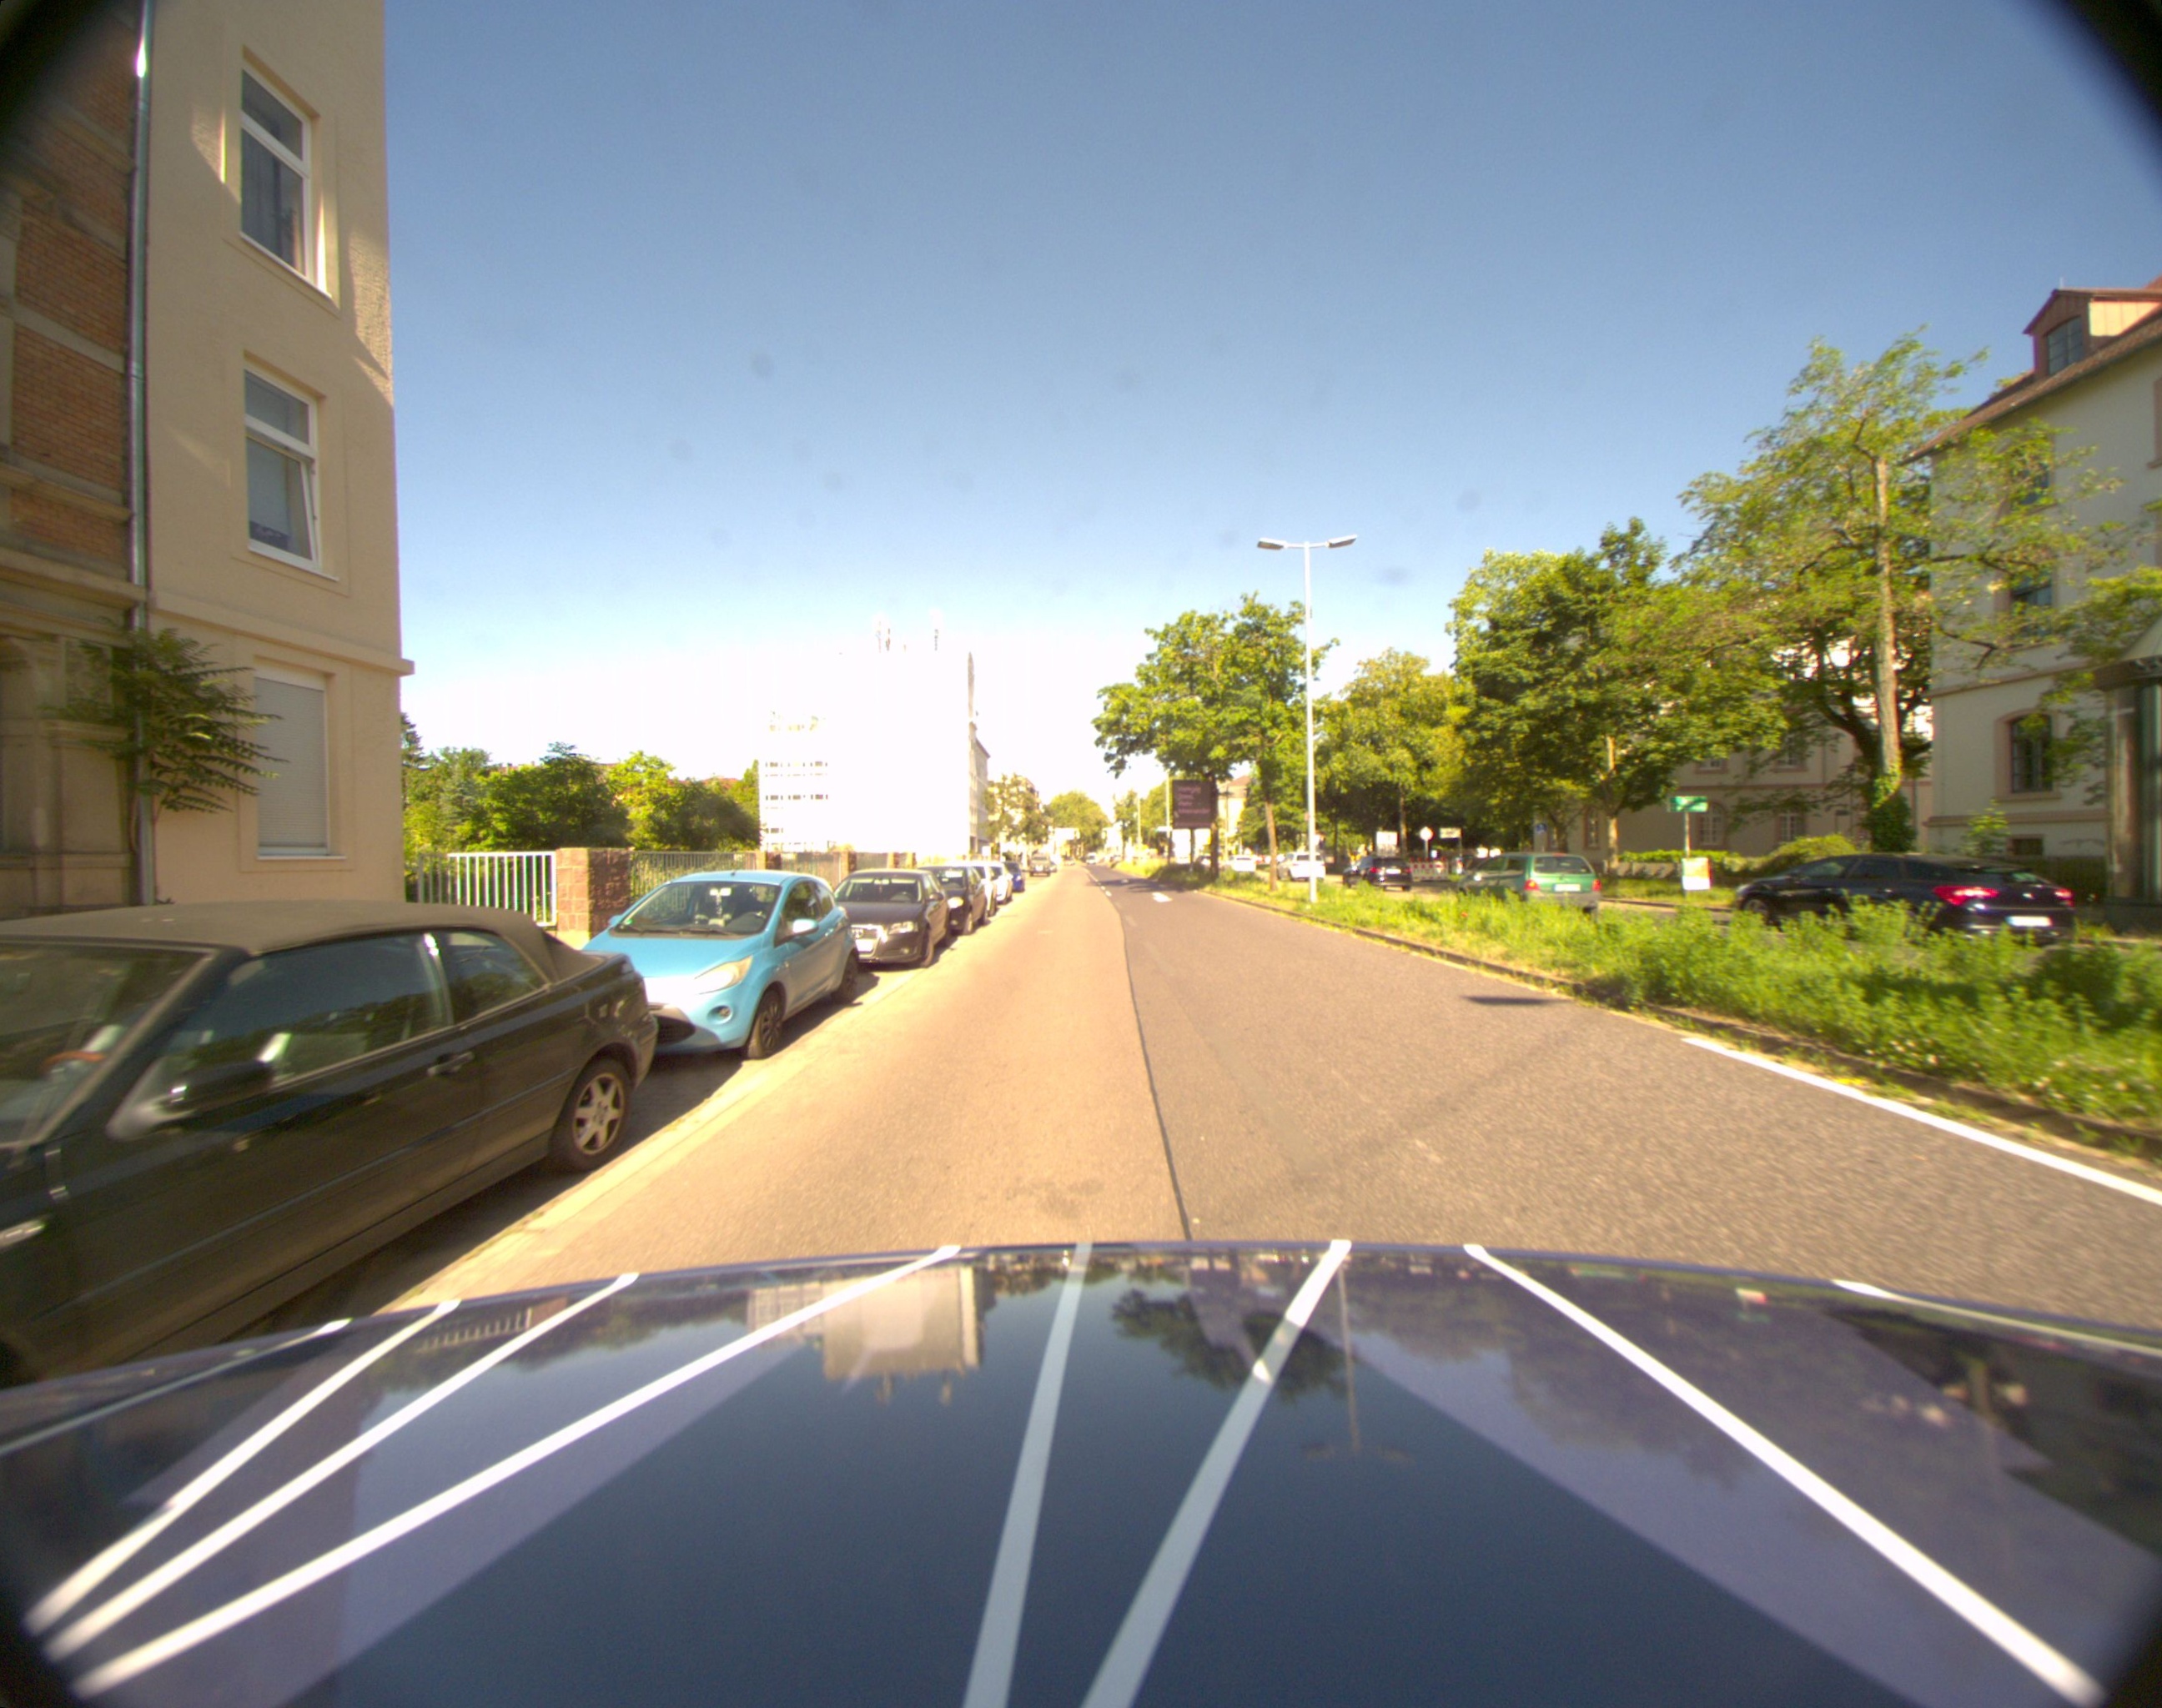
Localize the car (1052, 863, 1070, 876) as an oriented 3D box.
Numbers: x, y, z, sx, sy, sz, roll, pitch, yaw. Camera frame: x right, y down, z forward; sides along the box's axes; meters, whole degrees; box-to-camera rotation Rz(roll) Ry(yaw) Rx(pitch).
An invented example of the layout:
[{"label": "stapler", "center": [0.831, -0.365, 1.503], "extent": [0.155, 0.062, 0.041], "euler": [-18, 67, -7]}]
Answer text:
[{"label": "car", "center": [-2.246, 1.813, 88.357], "extent": [1.641, 1.439, 4.158], "euler": [-1, -1, 5]}]

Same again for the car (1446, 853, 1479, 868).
[{"label": "car", "center": [34.255, 0.597, 68.286], "extent": [1.769, 1.315, 3.504], "euler": [-1, 0, 10]}]

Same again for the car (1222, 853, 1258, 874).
[{"label": "car", "center": [12.050, 0.678, 57.912], "extent": [1.843, 1.510, 4.666], "euler": [-1, 0, 1]}]

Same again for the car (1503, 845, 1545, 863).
[{"label": "car", "center": [45.552, -0.044, 78.227], "extent": [1.646, 1.484, 4.682], "euler": [-2, 3, 0]}]

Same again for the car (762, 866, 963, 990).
[{"label": "car", "center": [-3.159, 0.990, 12.039], "extent": [1.940, 1.510, 4.483], "euler": [-1, 0, -1]}]

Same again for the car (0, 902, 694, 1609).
[{"label": "car", "center": [-3.314, 1.037, 2.524], "extent": [1.672, 1.459, 4.275], "euler": [-1, 0, 3]}]

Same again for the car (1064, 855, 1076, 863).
[{"label": "car", "center": [-2.319, 1.046, 156.171], "extent": [1.882, 1.510, 4.002], "euler": [-2, 1, 7]}]

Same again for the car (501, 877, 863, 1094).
[{"label": "car", "center": [-3.313, 0.989, 7.055], "extent": [1.626, 1.462, 3.299], "euler": [0, 0, 0]}]

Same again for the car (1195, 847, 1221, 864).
[{"label": "car", "center": [12.159, 0.112, 72.959], "extent": [1.800, 1.510, 4.257], "euler": [-2, 2, 0]}]

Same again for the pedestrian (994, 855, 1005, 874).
[{"label": "pedestrian", "center": [-6.720, 0.858, 62.667], "extent": [0.745, 1.574, 0.896], "euler": [-2, 1, 0]}]

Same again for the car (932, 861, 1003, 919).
[{"label": "car", "center": [-3.186, 0.972, 21.987], "extent": [1.672, 1.510, 3.660], "euler": [-1, 0, -3]}]

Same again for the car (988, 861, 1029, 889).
[{"label": "car", "center": [-3.506, 0.994, 37.167], "extent": [1.672, 1.175, 3.900], "euler": [2, 0, -2]}]

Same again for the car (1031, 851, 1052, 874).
[{"label": "car", "center": [-3.469, 0.724, 67.730], "extent": [1.664, 2.002, 4.775], "euler": [0, 1, 0]}]

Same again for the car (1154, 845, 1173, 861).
[{"label": "car", "center": [9.687, -0.123, 89.505], "extent": [1.757, 1.609, 4.320], "euler": [-2, 3, 0]}]

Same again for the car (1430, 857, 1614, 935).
[{"label": "car", "center": [9.744, 0.845, 17.237], "extent": [1.642, 1.510, 4.257], "euler": [-1, 0, -1]}]

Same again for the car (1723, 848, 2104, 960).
[{"label": "car", "center": [13.538, 0.693, 12.867], "extent": [1.799, 1.510, 4.424], "euler": [-2, 0, 4]}]

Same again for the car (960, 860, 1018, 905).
[{"label": "car", "center": [-3.227, 0.977, 27.209], "extent": [1.612, 1.437, 3.658], "euler": [2, 0, -1]}]

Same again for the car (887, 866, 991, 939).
[{"label": "car", "center": [-3.064, 1.007, 17.069], "extent": [1.672, 1.385, 3.774], "euler": [-1, 0, -1]}]

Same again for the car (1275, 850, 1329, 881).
[{"label": "car", "center": [11.954, 0.577, 41.423], "extent": [1.905, 1.616, 4.538], "euler": [0, 0, 3]}]

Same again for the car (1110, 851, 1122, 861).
[{"label": "car", "center": [7.221, 0.445, 158.406], "extent": [2.239, 2.016, 5.016], "euler": [-1, 0, -1]}]

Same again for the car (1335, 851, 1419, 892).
[{"label": "car", "center": [11.945, 0.656, 30.950], "extent": [1.800, 1.510, 4.086], "euler": [0, 1, 0]}]

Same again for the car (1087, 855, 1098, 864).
[{"label": "car", "center": [2.342, 1.127, 157.857], "extent": [1.882, 1.511, 4.000], "euler": [-2, 3, 7]}]

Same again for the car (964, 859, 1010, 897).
[{"label": "car", "center": [-3.969, 0.975, 32.559], "extent": [1.673, 1.451, 3.985], "euler": [2, 0, -3]}]

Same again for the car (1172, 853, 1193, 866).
[{"label": "car", "center": [11.944, 0.636, 89.460], "extent": [1.800, 1.510, 4.257], "euler": [-1, 0, -1]}]
